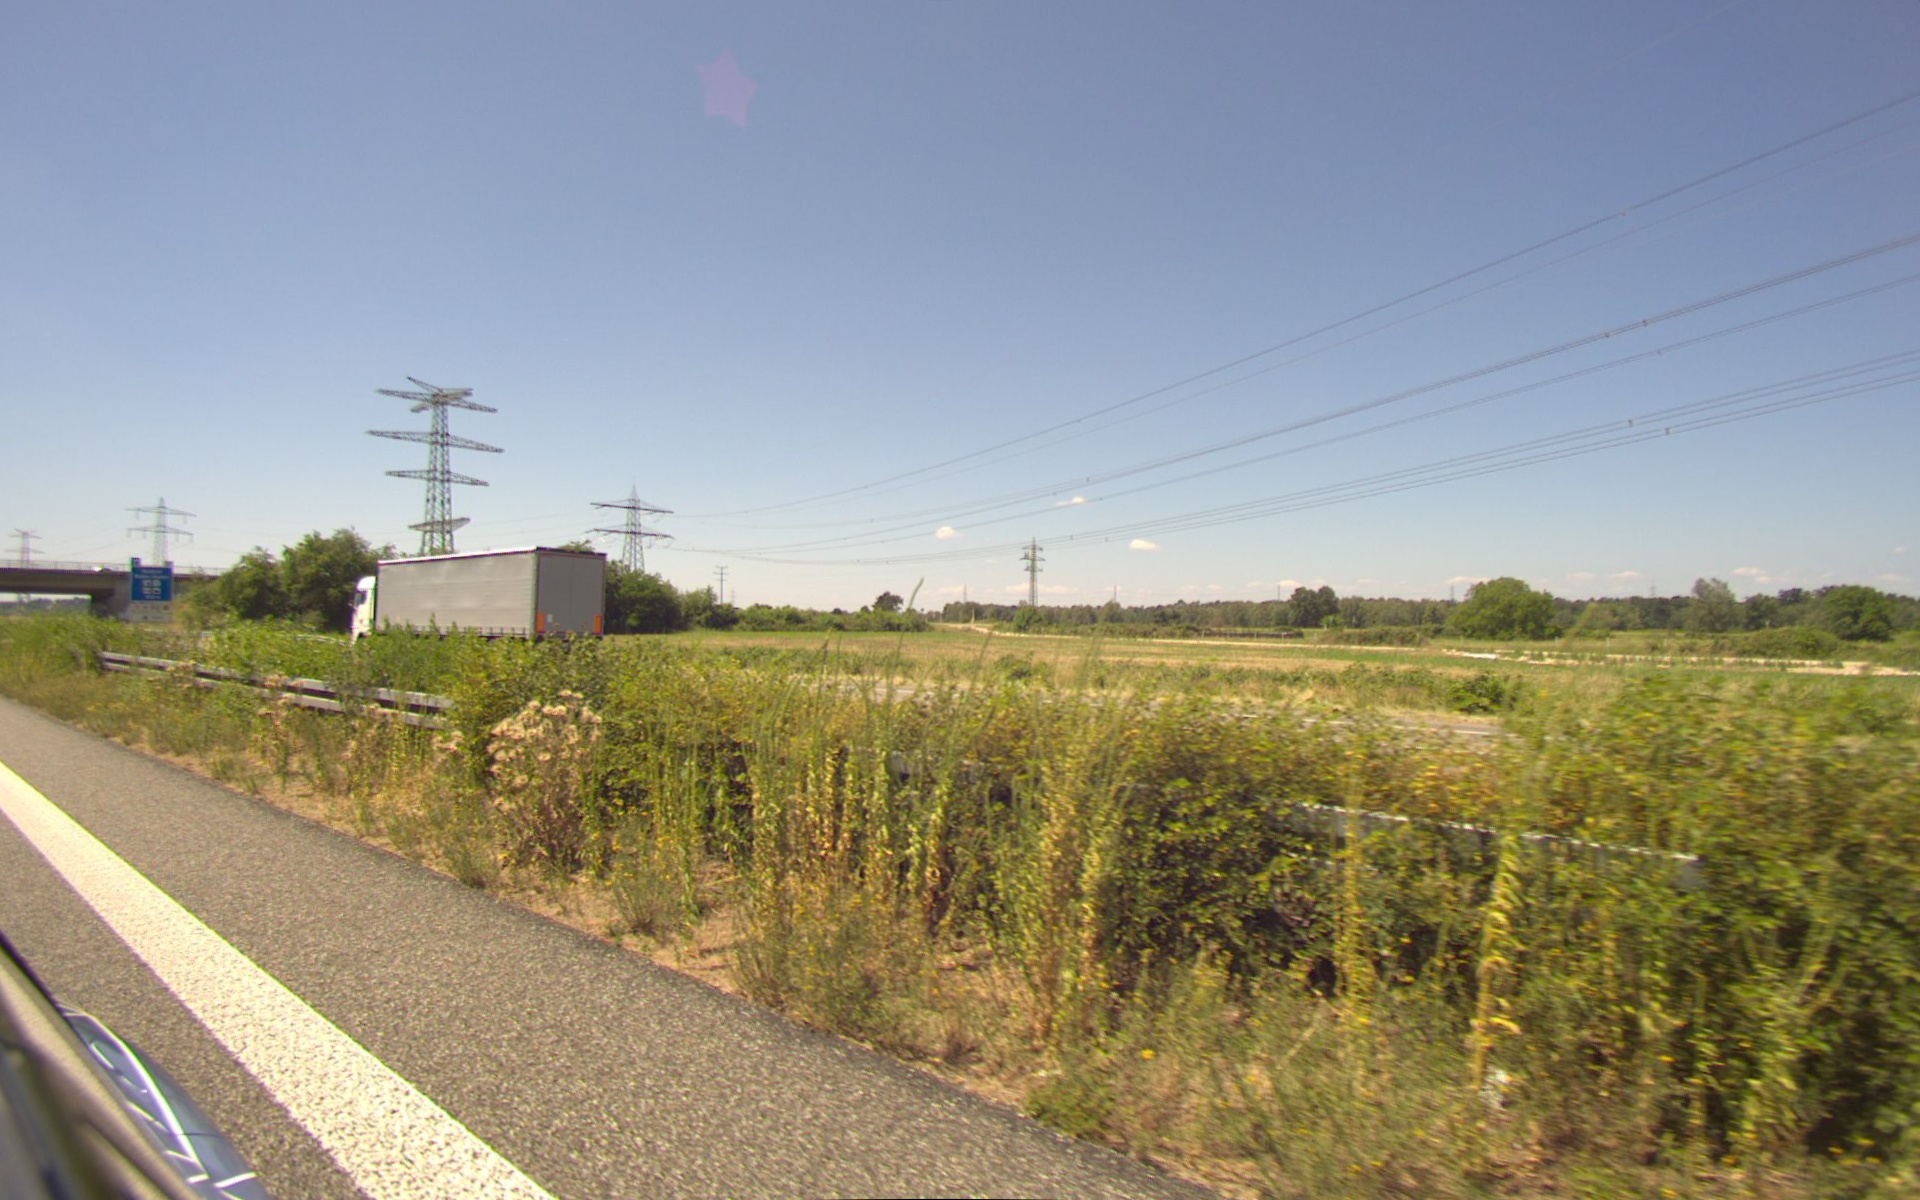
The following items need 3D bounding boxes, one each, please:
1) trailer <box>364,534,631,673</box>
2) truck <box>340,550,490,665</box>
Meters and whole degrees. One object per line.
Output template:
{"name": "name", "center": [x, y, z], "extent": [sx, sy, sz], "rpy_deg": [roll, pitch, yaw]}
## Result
{"name": "trailer", "center": [-17.941, 0.303, 38.290], "extent": [14.310, 4.442, 3.333], "rpy_deg": [-1, -4, 41]}
{"name": "truck", "center": [-23.053, 0.411, 42.696], "extent": [6.553, 4.442, 3.333], "rpy_deg": [-1, -4, 41]}
